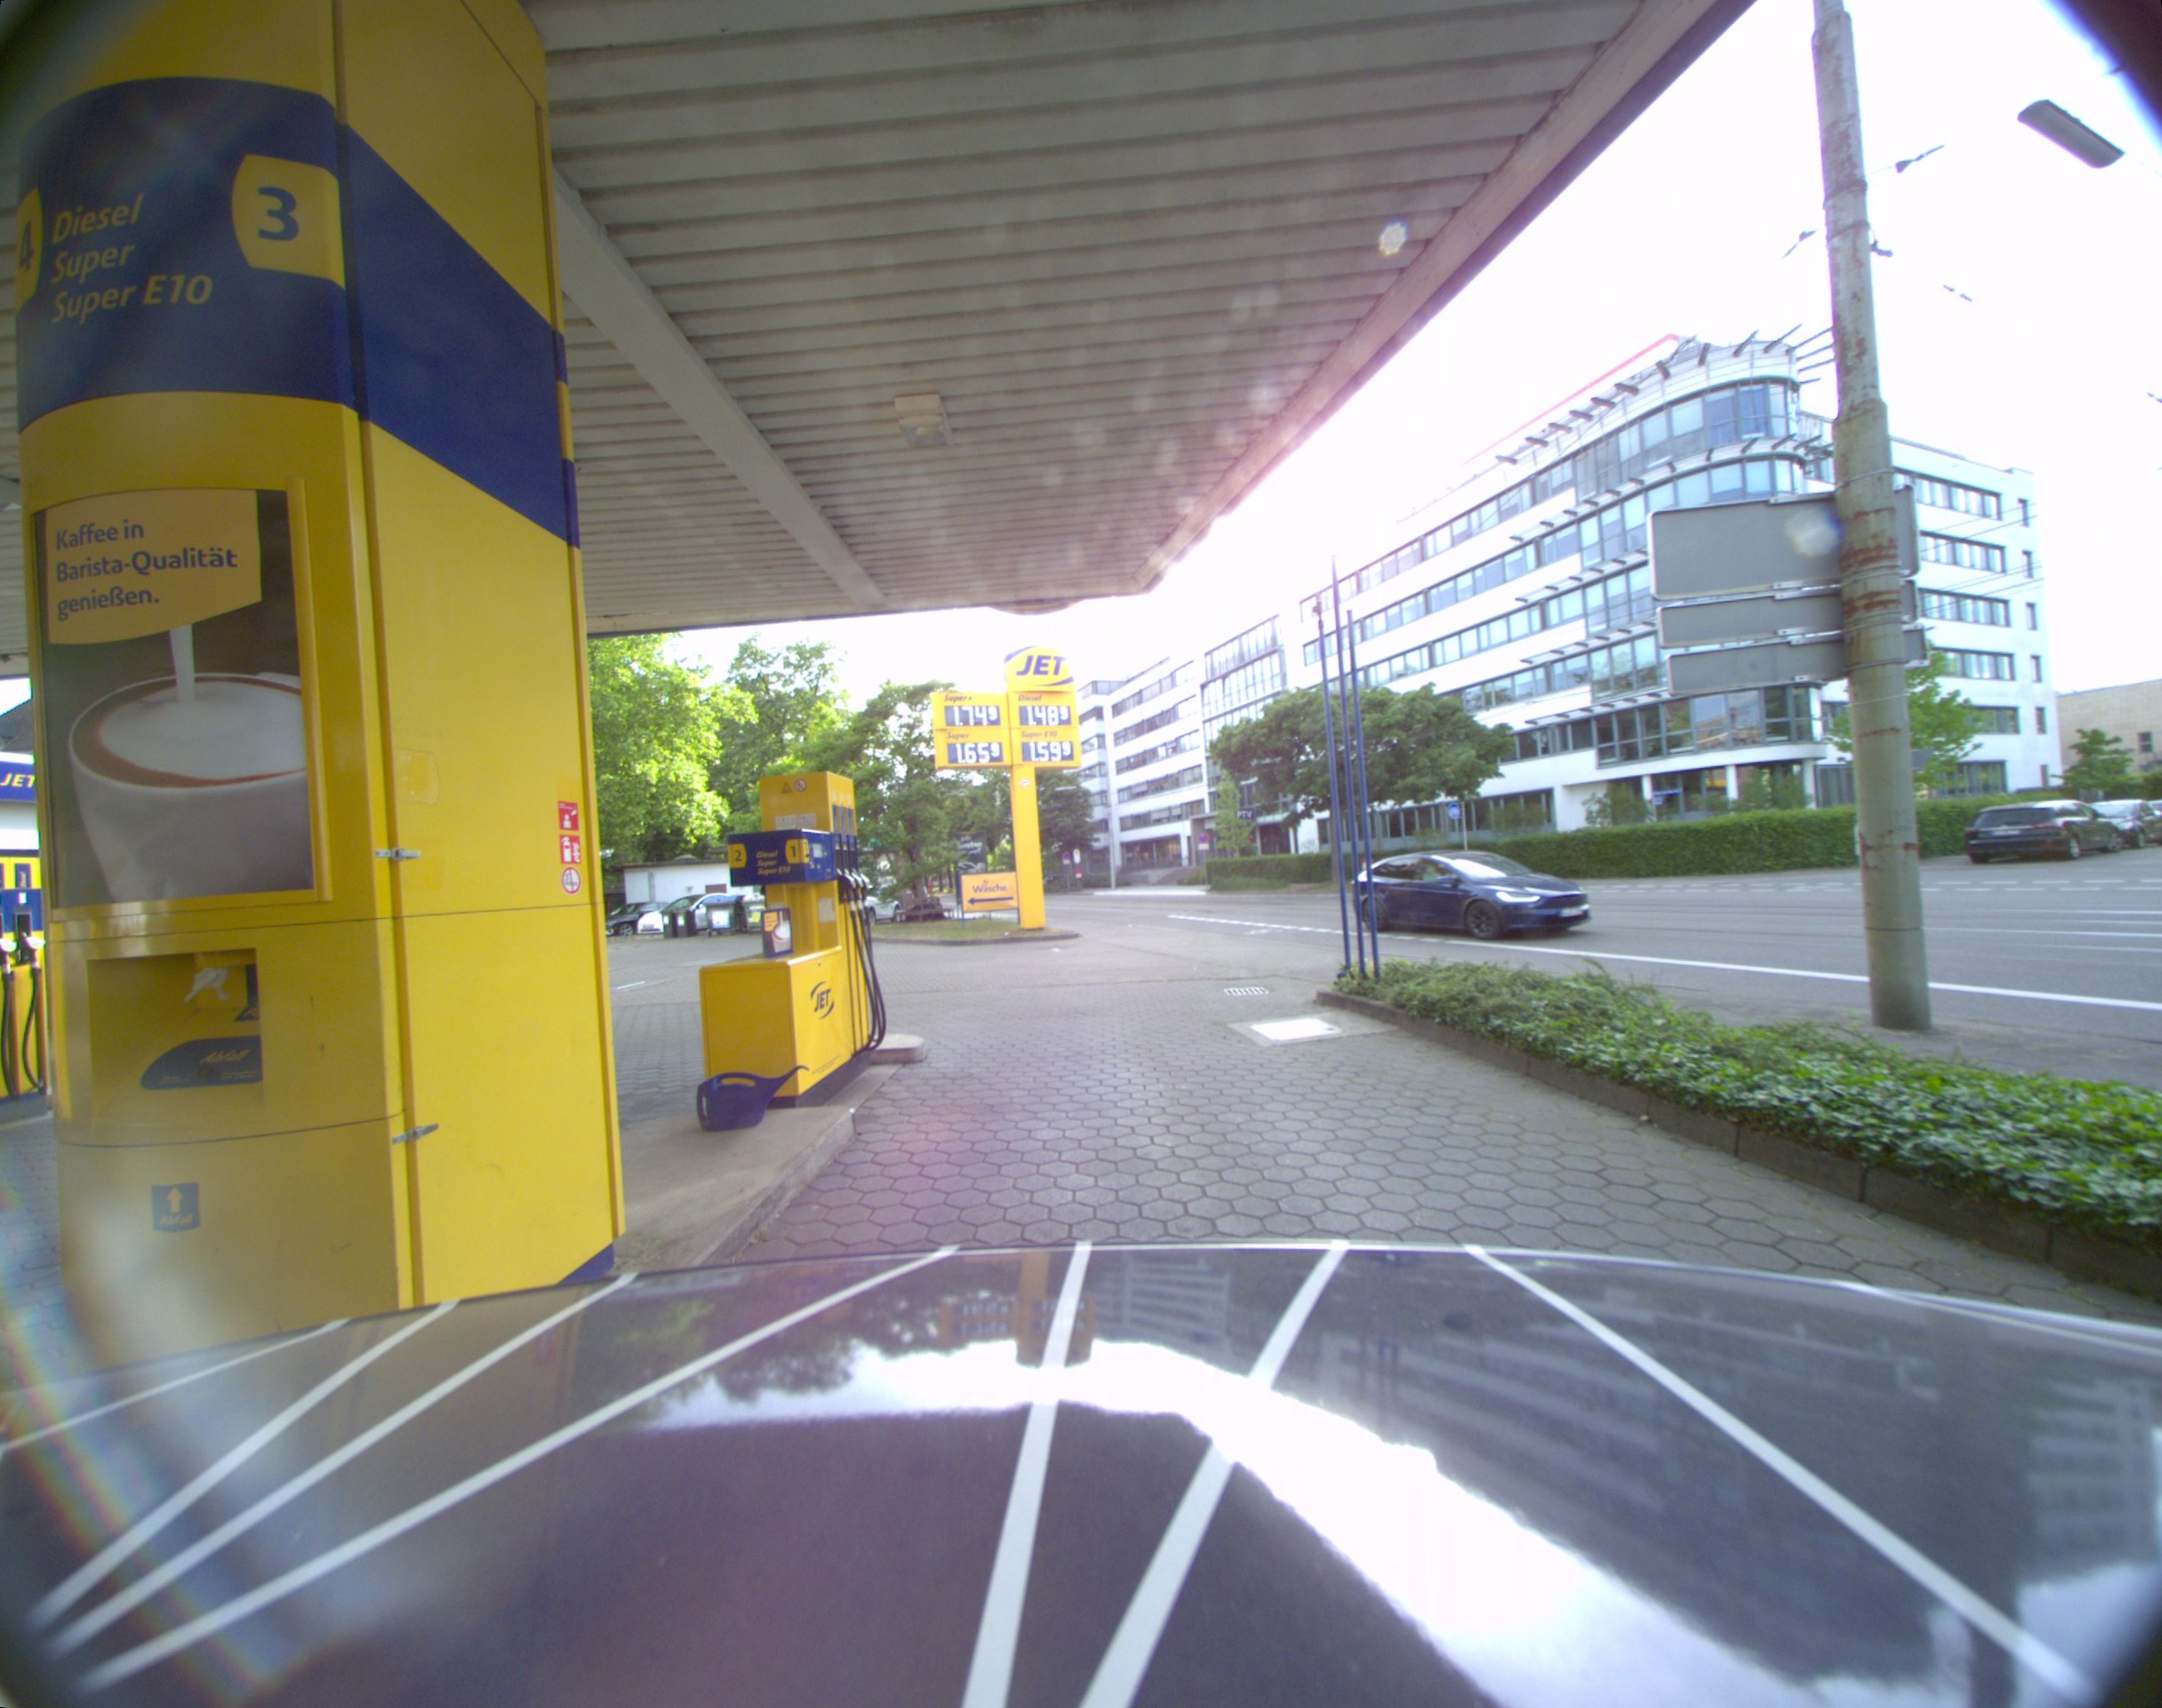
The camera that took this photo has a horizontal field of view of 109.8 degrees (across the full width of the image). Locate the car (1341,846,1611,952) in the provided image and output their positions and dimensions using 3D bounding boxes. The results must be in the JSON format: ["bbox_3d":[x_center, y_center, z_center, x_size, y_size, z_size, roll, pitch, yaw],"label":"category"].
[{"bbox_3d":[7.594,0.837,15.294,1.771,1.647,4.844,-5,0,-19],"label":"car"}]

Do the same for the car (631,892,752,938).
[{"bbox_3d":[-15.359,2.386,30.241,1.785,1.514,4.229,-4,-3,17],"label":"car"}]

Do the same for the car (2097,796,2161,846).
[{"bbox_3d":[37.152,-1.227,26.065,4.109,1.544,1.786,-4,-1,-23],"label":"car"}]

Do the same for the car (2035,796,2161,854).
[{"bbox_3d":[32.492,-0.934,24.027,4.109,1.544,1.786,-4,-1,-23],"label":"car"}]

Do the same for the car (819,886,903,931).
[{"bbox_3d":[-8.686,2.119,30.367,1.739,1.500,4.003,-4,-2,6],"label":"car"}]

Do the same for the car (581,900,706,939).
[{"bbox_3d":[-17.745,2.634,31.057,1.745,1.269,4.230,-5,-3,19],"label":"car"}]

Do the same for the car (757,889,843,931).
[{"bbox_3d":[-11.801,2.326,32.229,1.739,1.500,4.004,-4,-2,6],"label":"car"}]

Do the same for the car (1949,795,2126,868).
[{"bbox_3d":[27.377,-0.642,21.756,4.438,1.603,1.976,-5,-1,-23],"label":"car"}]
